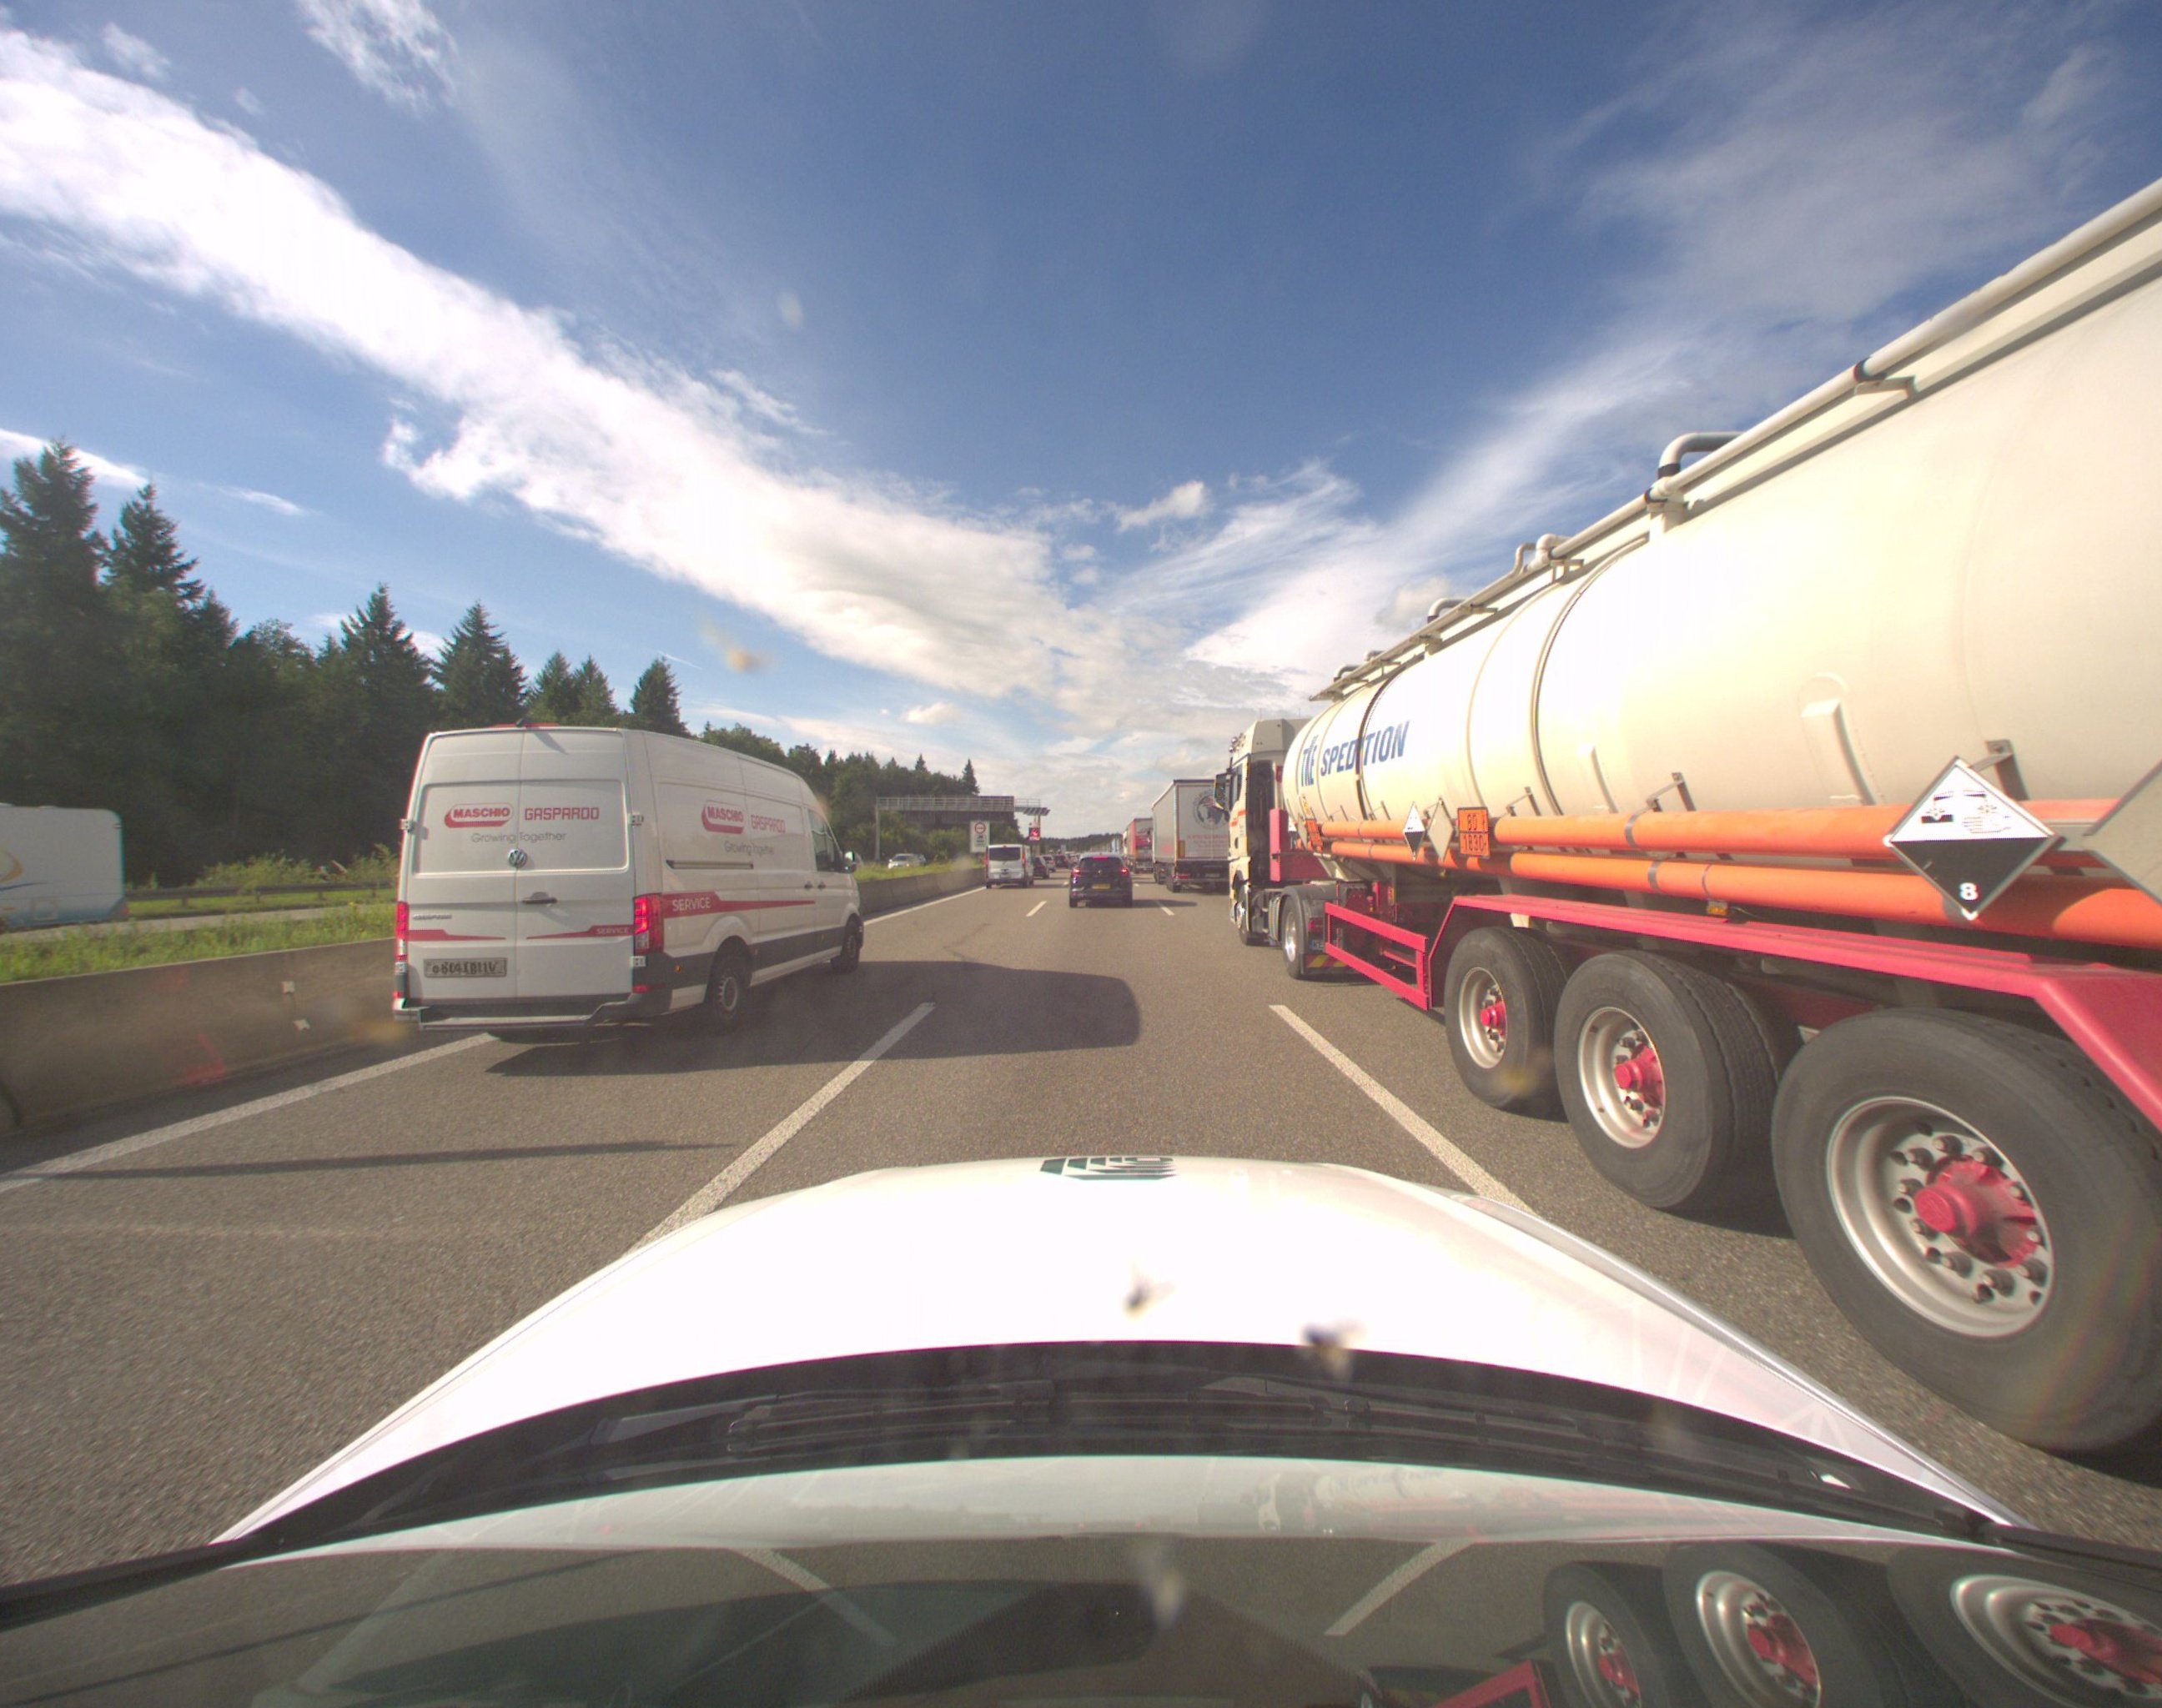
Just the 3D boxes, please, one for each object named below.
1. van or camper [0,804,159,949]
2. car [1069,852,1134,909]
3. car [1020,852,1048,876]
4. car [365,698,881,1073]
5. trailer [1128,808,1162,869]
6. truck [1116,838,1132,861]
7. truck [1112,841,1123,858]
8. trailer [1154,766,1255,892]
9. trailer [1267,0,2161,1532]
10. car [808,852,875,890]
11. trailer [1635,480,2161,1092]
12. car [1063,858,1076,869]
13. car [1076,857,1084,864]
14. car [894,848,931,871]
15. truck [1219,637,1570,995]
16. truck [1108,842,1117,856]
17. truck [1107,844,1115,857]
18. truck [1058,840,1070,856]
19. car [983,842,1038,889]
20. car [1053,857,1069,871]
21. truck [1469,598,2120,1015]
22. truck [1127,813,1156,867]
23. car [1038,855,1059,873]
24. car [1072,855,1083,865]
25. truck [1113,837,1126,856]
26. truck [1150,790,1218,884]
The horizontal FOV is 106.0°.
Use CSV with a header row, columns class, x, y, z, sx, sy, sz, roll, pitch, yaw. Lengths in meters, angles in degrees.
class,x,y,z,sx,sy,sz,roll,pitch,yaw
van or camper,-19.144,0.379,12.853,2.450,2.414,5.853,-1,0,1
car,0.692,0.719,24.328,1.689,1.482,4.166,0,1,5
car,-2.878,0.594,50.350,1.494,1.396,3.477,0,0,1
car,-3.975,0.196,8.815,2.008,2.599,6.181,-1,0,0
trailer,4.751,-1.086,61.360,2.141,4.259,8.444,0,0,2
truck,5.710,-0.584,108.708,1.986,2.932,4.984,2,0,2
truck,6.976,-0.795,156.288,1.986,3.052,4.984,2,0,2
trailer,4.706,-0.807,33.307,2.791,4.244,11.062,-1,0,2
trailer,3.559,-0.444,5.366,2.532,3.654,10.630,-1,0,2
car,-10.954,0.739,37.539,1.821,1.605,3.811,-1,0,2
trailer,7.609,-0.419,4.176,2.532,3.598,10.630,-1,0,2
car,-1.392,1.127,98.794,1.430,1.310,3.534,2,0,1
car,-0.144,1.063,141.236,1.356,1.159,3.085,-1,0,1
car,-13.441,0.460,65.162,1.880,1.684,4.002,2,0,2
truck,3.732,-0.366,11.583,2.524,3.584,6.731,-1,0,1
truck,7.029,-1.064,180.862,1.986,3.052,4.984,2,0,2
truck,7.586,-0.938,206.714,1.986,3.052,4.984,2,0,2
truck,-3.991,-1.282,192.379,2.335,3.594,6.307,2,0,1
car,-3.247,0.510,38.404,1.926,1.979,5.100,2,0,1
car,-2.051,1.040,84.040,1.430,1.310,3.534,2,0,1
truck,7.811,-0.399,10.479,2.520,3.573,6.778,-1,0,2
truck,4.968,-1.062,67.551,2.126,4.282,6.341,0,0,2
car,-2.751,0.836,69.545,1.494,1.396,3.477,2,0,1
car,-0.452,0.826,114.488,1.356,1.301,3.085,2,0,1
truck,6.360,-1.189,134.456,1.986,3.052,4.984,2,0,2
truck,4.992,-0.767,40.478,2.775,4.247,6.463,-1,0,2
